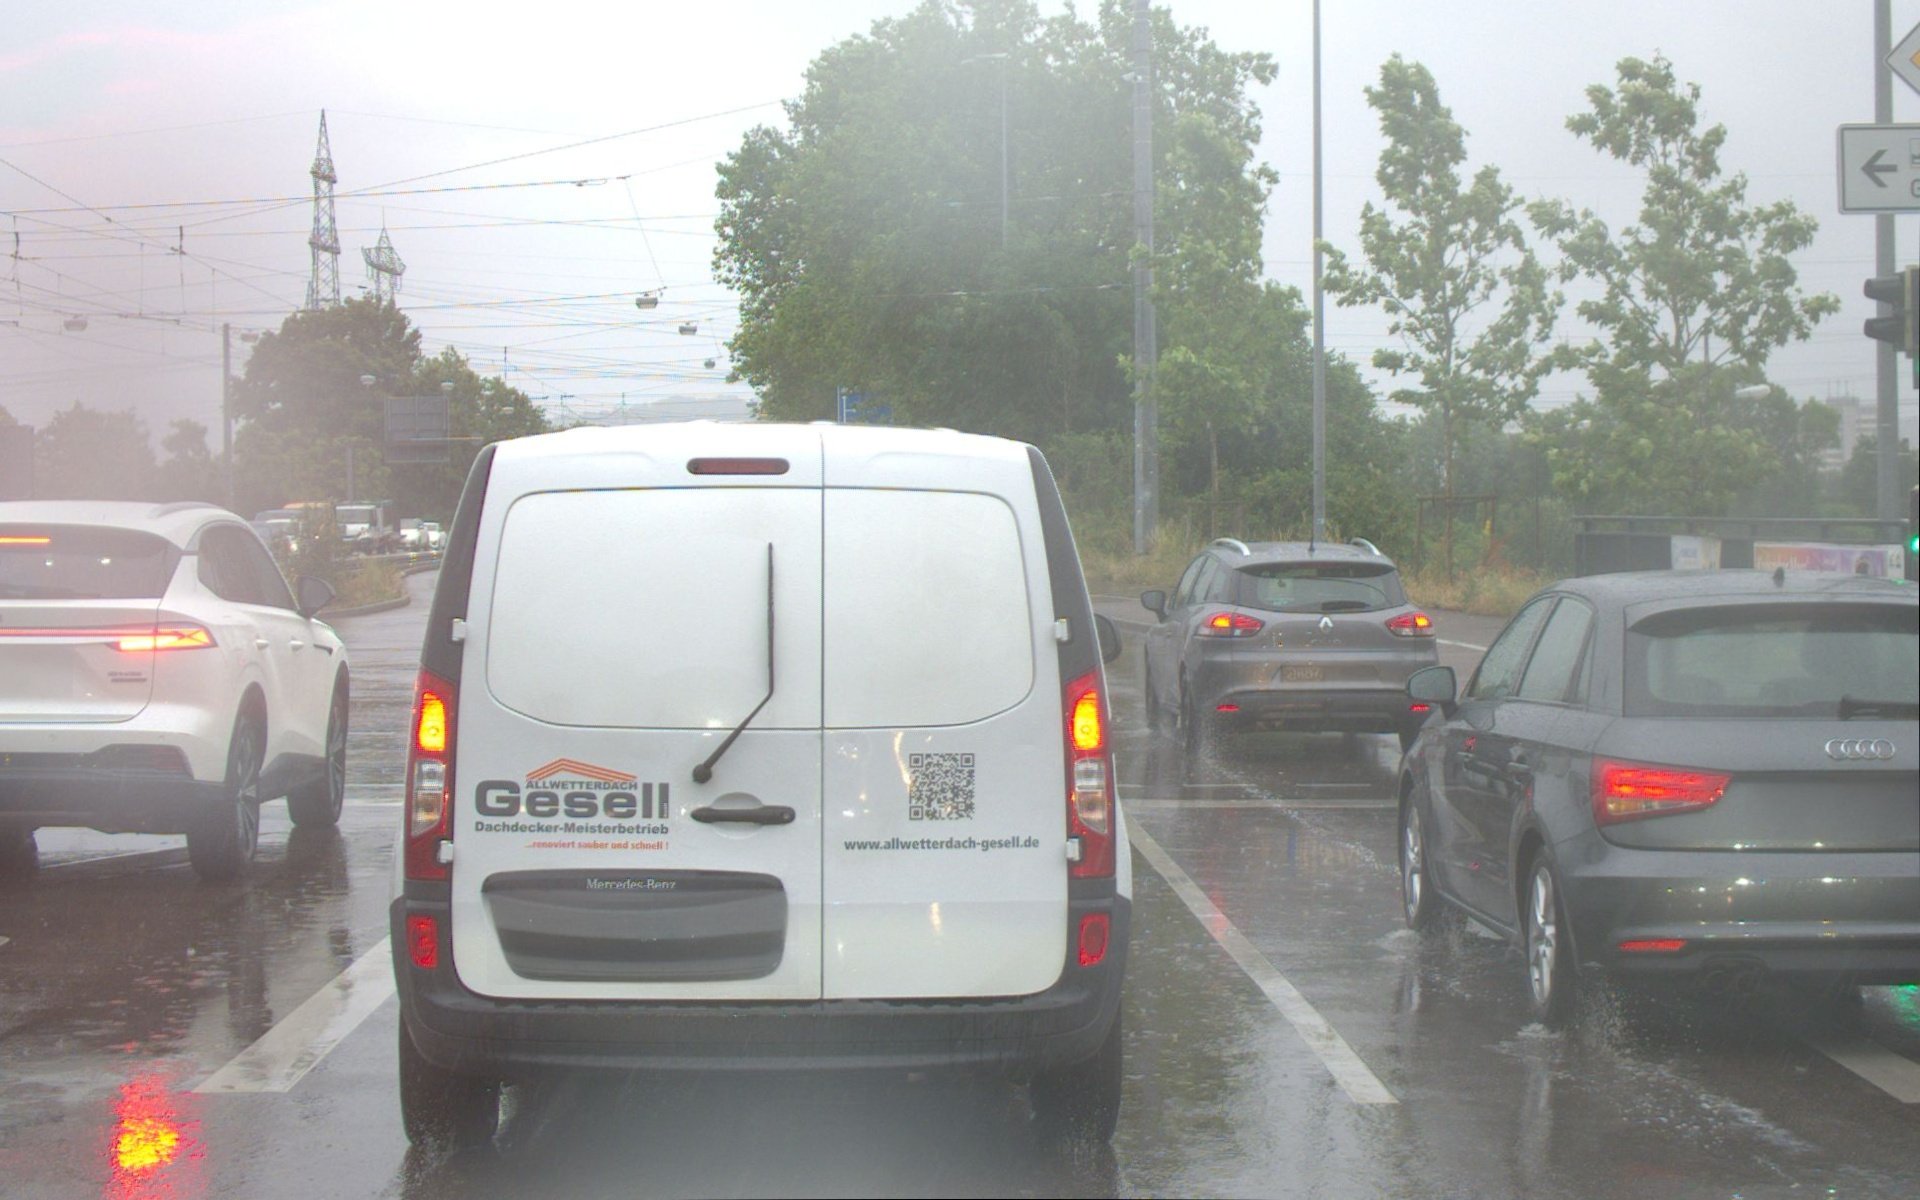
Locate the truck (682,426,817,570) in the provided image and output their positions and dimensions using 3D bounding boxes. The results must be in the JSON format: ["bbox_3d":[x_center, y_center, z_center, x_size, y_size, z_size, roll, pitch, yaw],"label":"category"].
[{"bbox_3d":[-4.351,-2.050,71.174,2.632,2.806,7.146,0,1,-3],"label":"truck"}]

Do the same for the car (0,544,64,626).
[{"bbox_3d":[-22.108,-0.363,78.589,1.929,1.820,3.999,1,1,4],"label":"car"}]

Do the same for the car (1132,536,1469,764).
[{"bbox_3d":[2.298,0.288,24.120,1.859,1.424,3.808,1,1,-2],"label":"car"}]

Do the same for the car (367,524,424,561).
[{"bbox_3d":[-27.245,-2.760,166.002,1.993,1.702,4.000,1,1,1],"label":"car"}]

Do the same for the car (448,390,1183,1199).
[{"bbox_3d":[-0.331,0.419,9.370,1.566,1.782,4.000,0,1,-1],"label":"car"}]

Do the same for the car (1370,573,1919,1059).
[{"bbox_3d":[2.459,0.598,11.473,1.629,1.340,3.624,1,1,-2],"label":"car"}]

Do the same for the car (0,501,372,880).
[{"bbox_3d":[-3.939,0.310,16.134,1.728,1.530,4.298,1,1,-2],"label":"car"}]

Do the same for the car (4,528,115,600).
[{"bbox_3d":[-25.903,-1.029,99.005,1.993,2.007,4.000,1,1,2],"label":"car"}]

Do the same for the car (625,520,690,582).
[{"bbox_3d":[-9.717,-1.600,110.565,1.993,1.853,4.001,1,2,-5],"label":"car"}]

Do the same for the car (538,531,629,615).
[{"bbox_3d":[-8.694,-0.629,79.185,1.993,1.853,4.001,1,1,-7],"label":"car"}]

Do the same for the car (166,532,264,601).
[{"bbox_3d":[-22.488,-1.020,103.877,1.993,2.007,4.000,1,1,1],"label":"car"}]

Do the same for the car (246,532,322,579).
[{"bbox_3d":[-22.872,-1.500,116.474,1.763,1.544,3.680,1,1,1],"label":"car"}]
